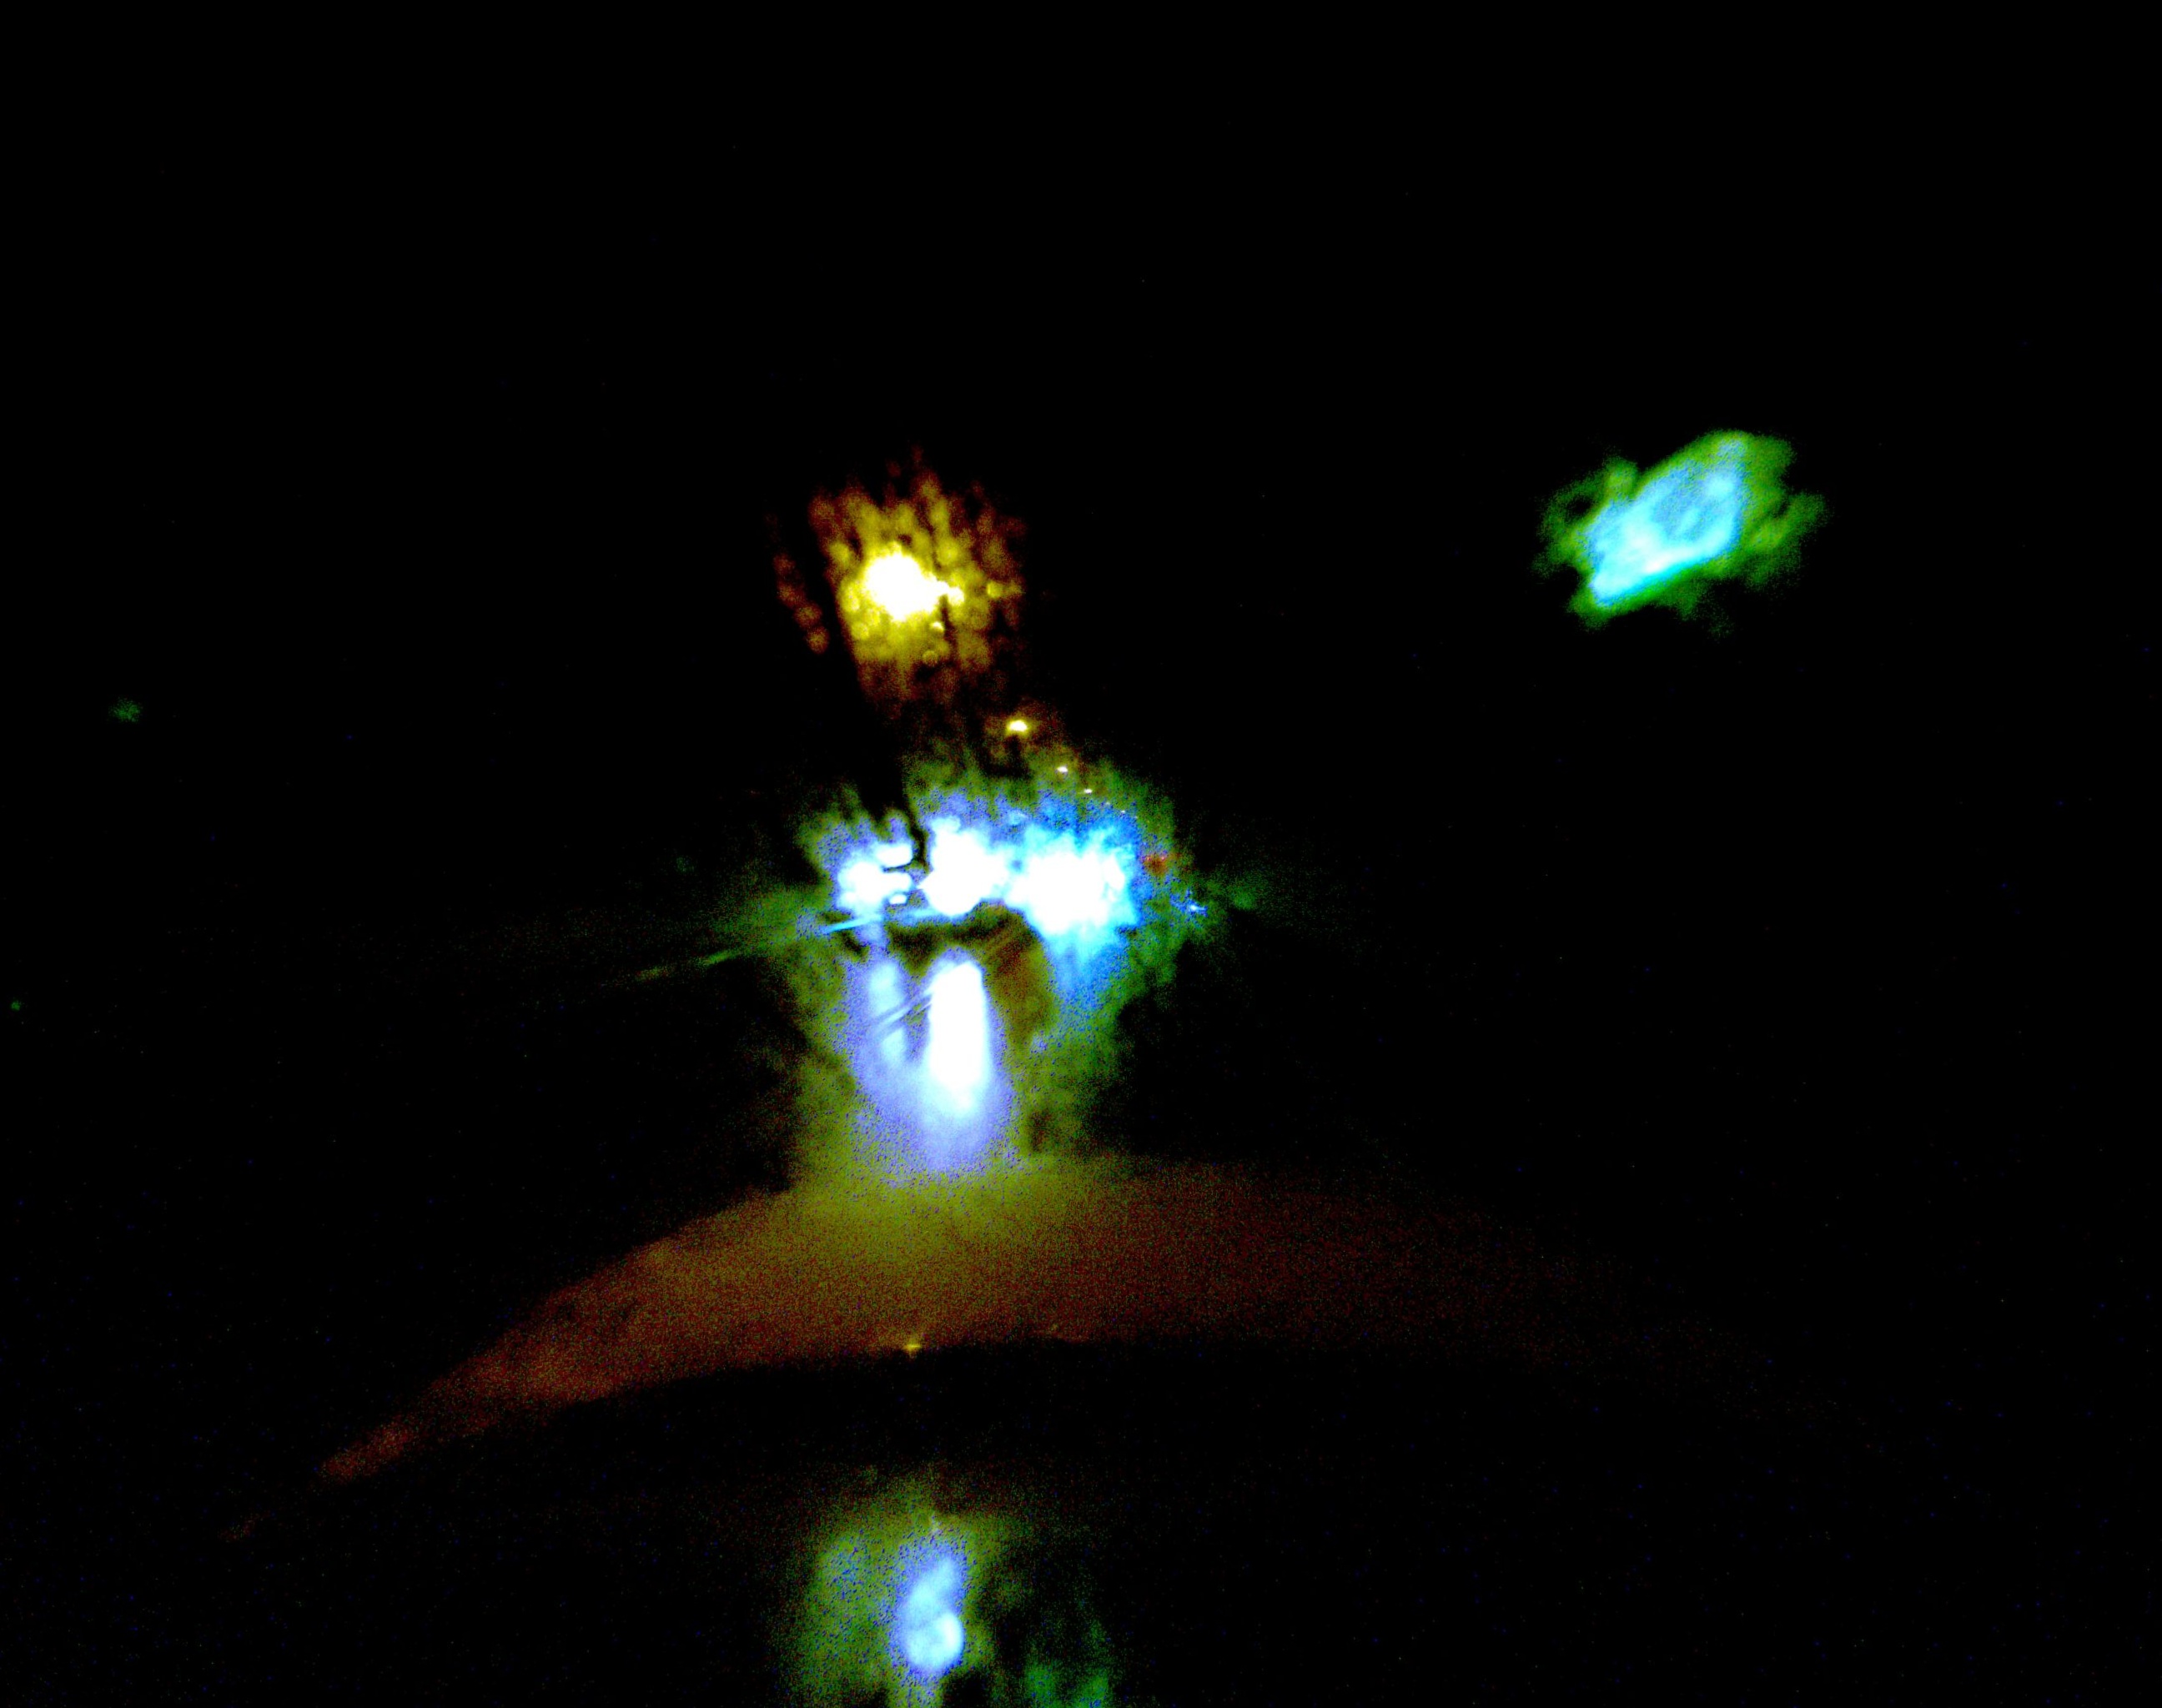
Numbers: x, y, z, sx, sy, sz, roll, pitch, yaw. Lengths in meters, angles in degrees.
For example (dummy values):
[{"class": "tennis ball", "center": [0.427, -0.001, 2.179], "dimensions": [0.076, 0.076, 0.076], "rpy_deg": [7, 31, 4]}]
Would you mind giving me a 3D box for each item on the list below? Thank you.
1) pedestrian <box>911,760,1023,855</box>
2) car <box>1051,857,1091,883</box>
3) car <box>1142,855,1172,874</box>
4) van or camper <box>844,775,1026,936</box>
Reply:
[{"class": "pedestrian", "center": [-2.600, -1.002, 19.564], "dimensions": [1.986, 2.014, 4.001], "rpy_deg": [0, -1, 2]}, {"class": "car", "center": [-0.499, 0.862, 45.429], "dimensions": [1.826, 1.383, 4.652], "rpy_deg": [0, 0, 5]}, {"class": "car", "center": [7.091, 0.992, 75.420], "dimensions": [2.074, 1.662, 4.016], "rpy_deg": [0, -1, 16]}, {"class": "van or camper", "center": [-2.870, 0.050, 18.025], "dimensions": [2.403, 2.883, 6.685], "rpy_deg": [0, -1, 4]}]
